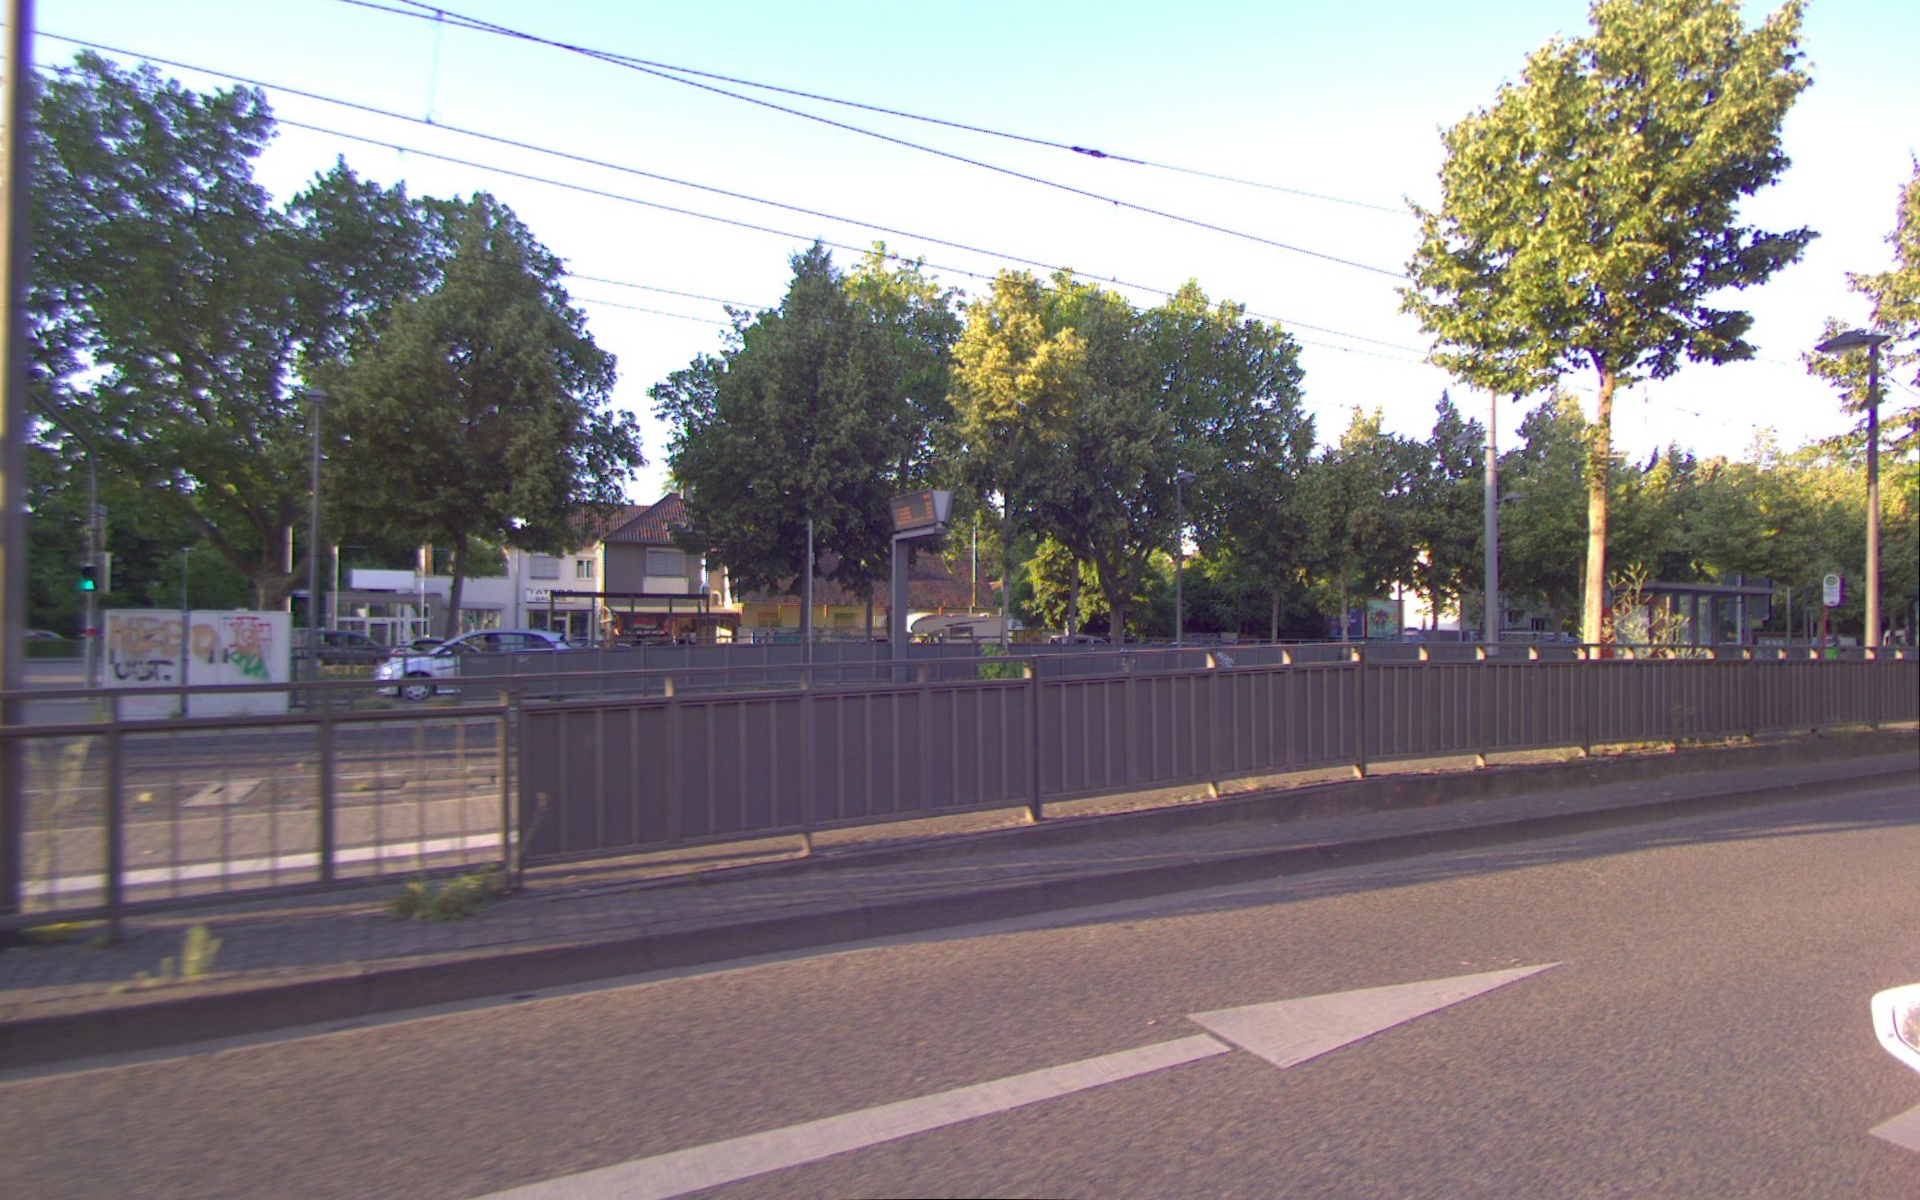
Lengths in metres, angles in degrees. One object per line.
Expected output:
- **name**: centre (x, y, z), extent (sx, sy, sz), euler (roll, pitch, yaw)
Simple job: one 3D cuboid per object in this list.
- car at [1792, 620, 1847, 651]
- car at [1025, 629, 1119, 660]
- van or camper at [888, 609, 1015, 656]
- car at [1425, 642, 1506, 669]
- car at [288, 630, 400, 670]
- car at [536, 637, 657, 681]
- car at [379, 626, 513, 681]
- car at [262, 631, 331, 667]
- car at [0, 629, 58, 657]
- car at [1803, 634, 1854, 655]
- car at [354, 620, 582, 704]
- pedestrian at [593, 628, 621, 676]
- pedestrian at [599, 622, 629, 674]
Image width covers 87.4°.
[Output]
- **car**: centre (63.015, 2.587, 73.635), extent (3.950, 2.213, 1.768), euler (1, -2, -28)
- **car**: centre (5.519, 2.177, 49.409), extent (4.186, 1.484, 1.988), euler (1, -2, -25)
- **van or camper**: centre (-0.438, 1.787, 53.936), extent (6.491, 2.441, 2.252), euler (1, -3, -23)
- **car**: centre (28.809, 3.168, 57.239), extent (4.186, 1.484, 1.988), euler (1, -2, -25)
- **car**: centre (-29.932, 2.412, 48.976), extent (4.327, 1.859, 1.939), euler (1, -2, -22)
- **car**: centre (-13.924, 2.232, 38.464), extent (4.186, 1.598, 1.988), euler (1, -2, -25)
- **car**: centre (-18.512, 1.918, 36.445), extent (4.186, 1.870, 1.988), euler (1, -2, -25)
- **car**: centre (-39.574, 2.898, 59.996), extent (1.886, 2.074, 3.995), euler (1, -2, -9)
- **car**: centre (-55.681, 2.512, 58.693), extent (3.947, 1.581, 1.988), euler (1, -2, -26)
- **car**: centre (77.444, 3.944, 89.565), extent (4.164, 1.839, 1.901), euler (2, -3, -26)
- **car**: centre (-11.139, 1.371, 22.876), extent (4.497, 1.750, 1.846), euler (2, -2, -31)
- **pedestrian**: centre (-12.572, 1.850, 35.784), extent (0.707, 1.660, 0.897), euler (0, -2, -3)
- **pedestrian**: centre (-11.892, 1.651, 34.547), extent (0.707, 1.777, 0.897), euler (0, -2, -3)
